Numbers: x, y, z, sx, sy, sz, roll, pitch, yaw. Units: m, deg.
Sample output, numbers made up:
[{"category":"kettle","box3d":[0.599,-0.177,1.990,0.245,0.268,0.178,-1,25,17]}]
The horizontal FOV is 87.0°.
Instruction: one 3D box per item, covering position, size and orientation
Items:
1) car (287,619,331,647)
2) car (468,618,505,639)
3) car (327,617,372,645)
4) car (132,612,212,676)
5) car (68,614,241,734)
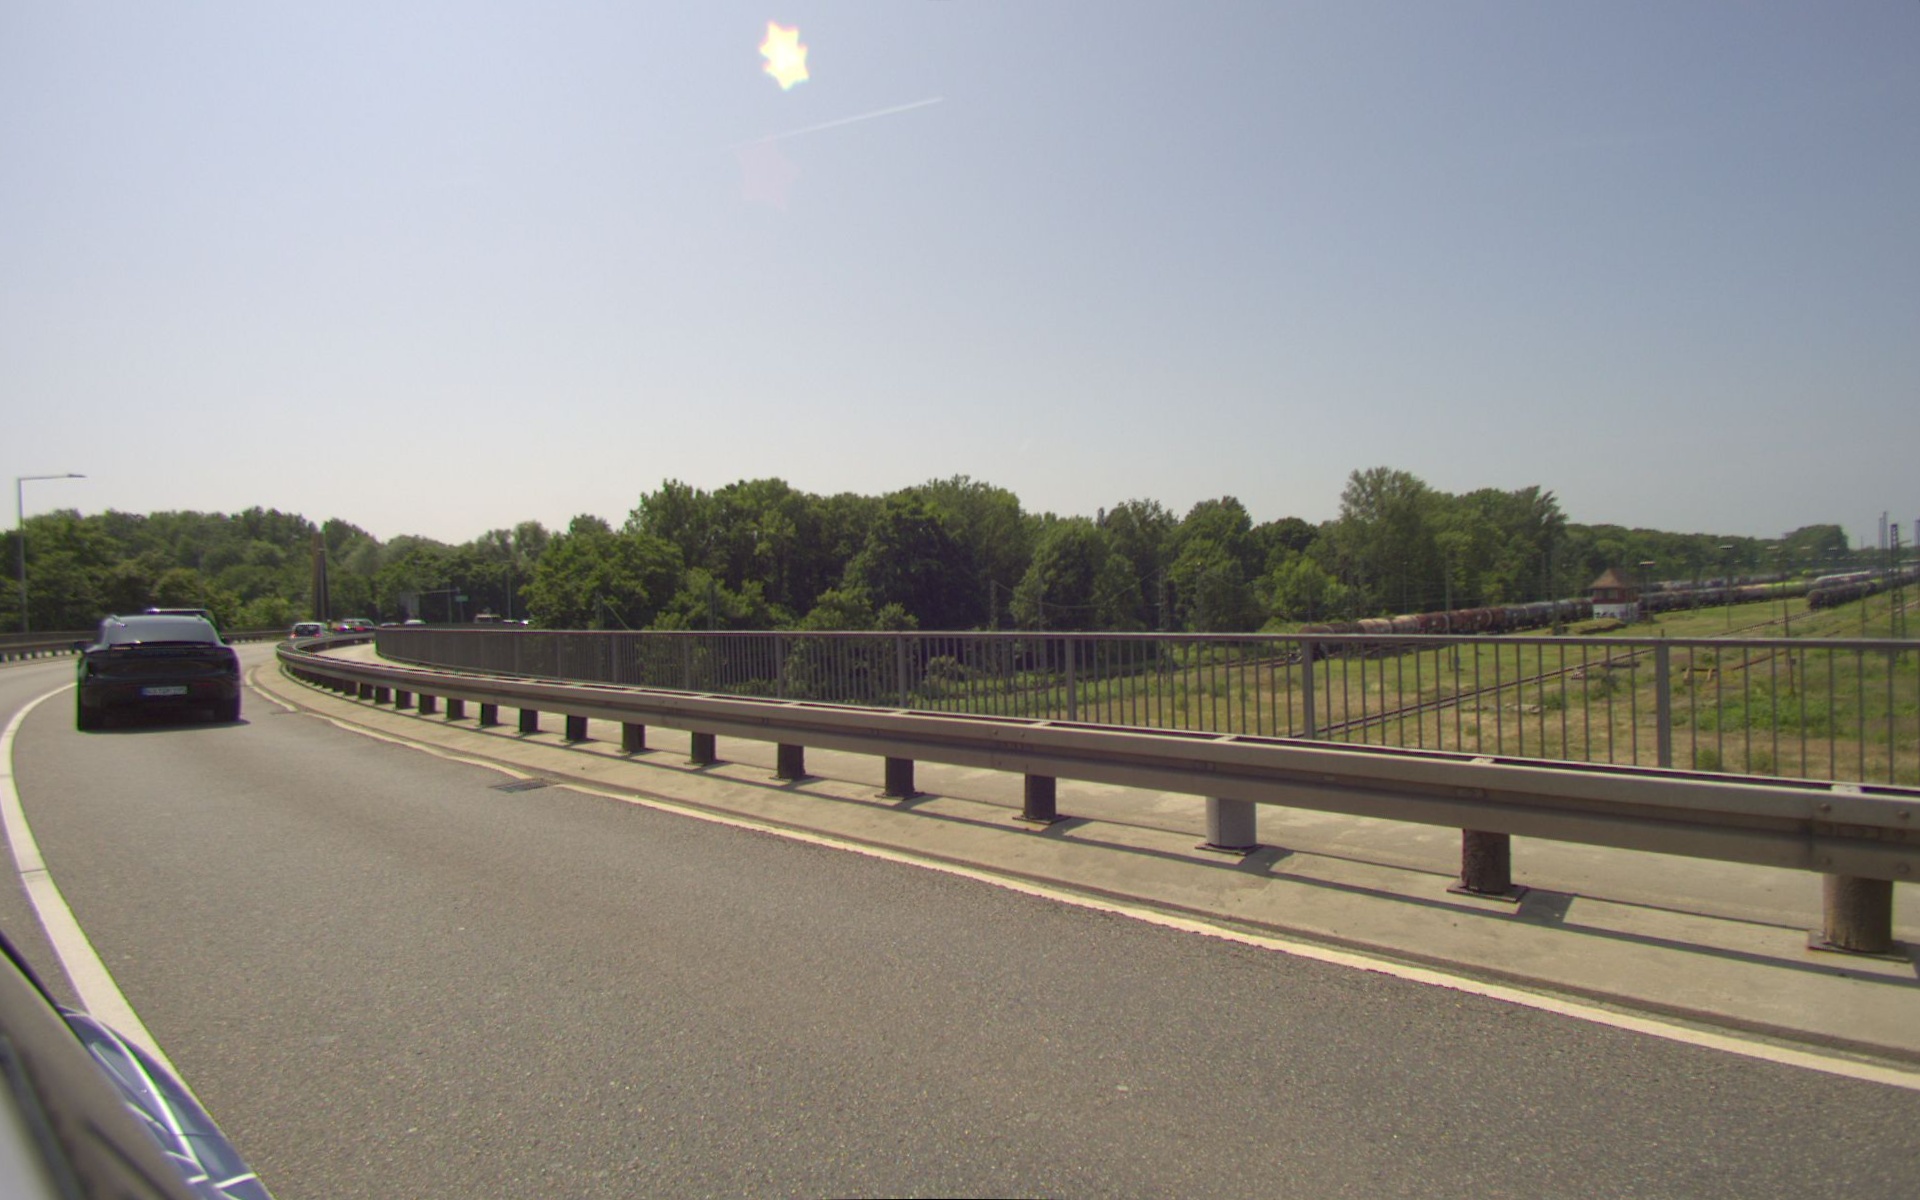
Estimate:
[{"category":"car","box3d":[-37.138,1.883,57.799,1.641,1.475,3.497,-1,-1,-25]},{"category":"car","box3d":[-48.276,2.885,103.269,1.839,2.015,4.819,0,-1,-5]},{"category":"car","box3d":[-40.974,2.070,68.006,1.880,1.780,4.013,-1,-1,-21]},{"category":"car","box3d":[-26.427,1.395,33.974,1.981,1.973,5.282,0,-1,-38]},{"category":"car","box3d":[-12.945,1.091,16.153,1.870,1.608,4.492,-1,-1,-42]}]
